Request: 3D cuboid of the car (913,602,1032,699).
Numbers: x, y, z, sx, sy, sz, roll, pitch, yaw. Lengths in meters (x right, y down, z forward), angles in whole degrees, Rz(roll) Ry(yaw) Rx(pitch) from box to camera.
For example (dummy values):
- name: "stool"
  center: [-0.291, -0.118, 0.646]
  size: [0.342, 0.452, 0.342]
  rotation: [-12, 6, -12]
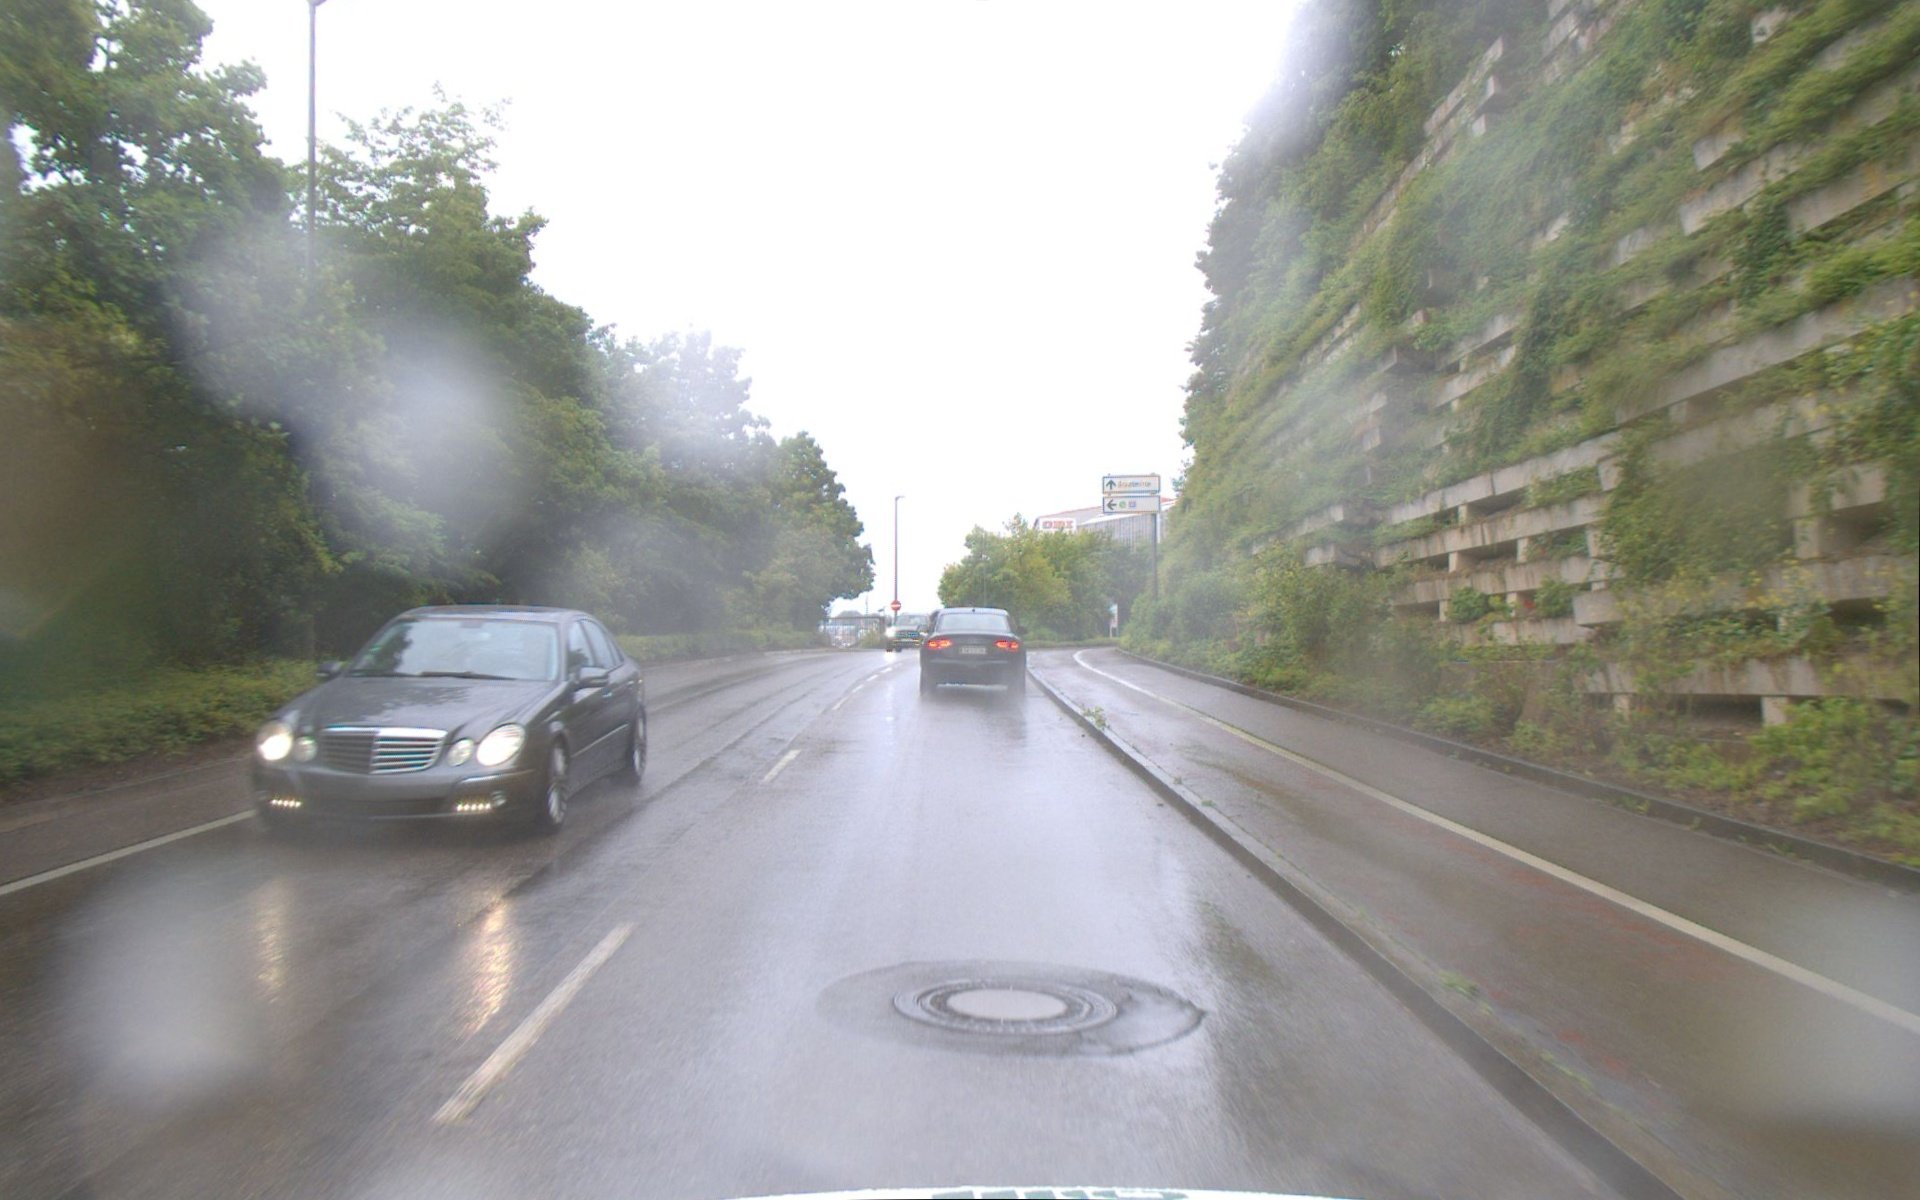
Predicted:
- name: "car"
  center: [0.242, 0.797, 28.105]
  size: [1.853, 1.518, 4.208]
  rotation: [0, 0, 1]

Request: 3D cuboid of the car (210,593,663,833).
- name: "car"
  center: [-3.449, 0.664, 11.827]
  size: [1.953, 1.388, 4.250]
  rotation: [1, 0, -1]

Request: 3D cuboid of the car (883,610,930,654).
- name: "car"
  center: [-2.220, 1.315, 69.542]
  size: [1.792, 1.736, 4.333]
  rotation: [1, 0, 1]
